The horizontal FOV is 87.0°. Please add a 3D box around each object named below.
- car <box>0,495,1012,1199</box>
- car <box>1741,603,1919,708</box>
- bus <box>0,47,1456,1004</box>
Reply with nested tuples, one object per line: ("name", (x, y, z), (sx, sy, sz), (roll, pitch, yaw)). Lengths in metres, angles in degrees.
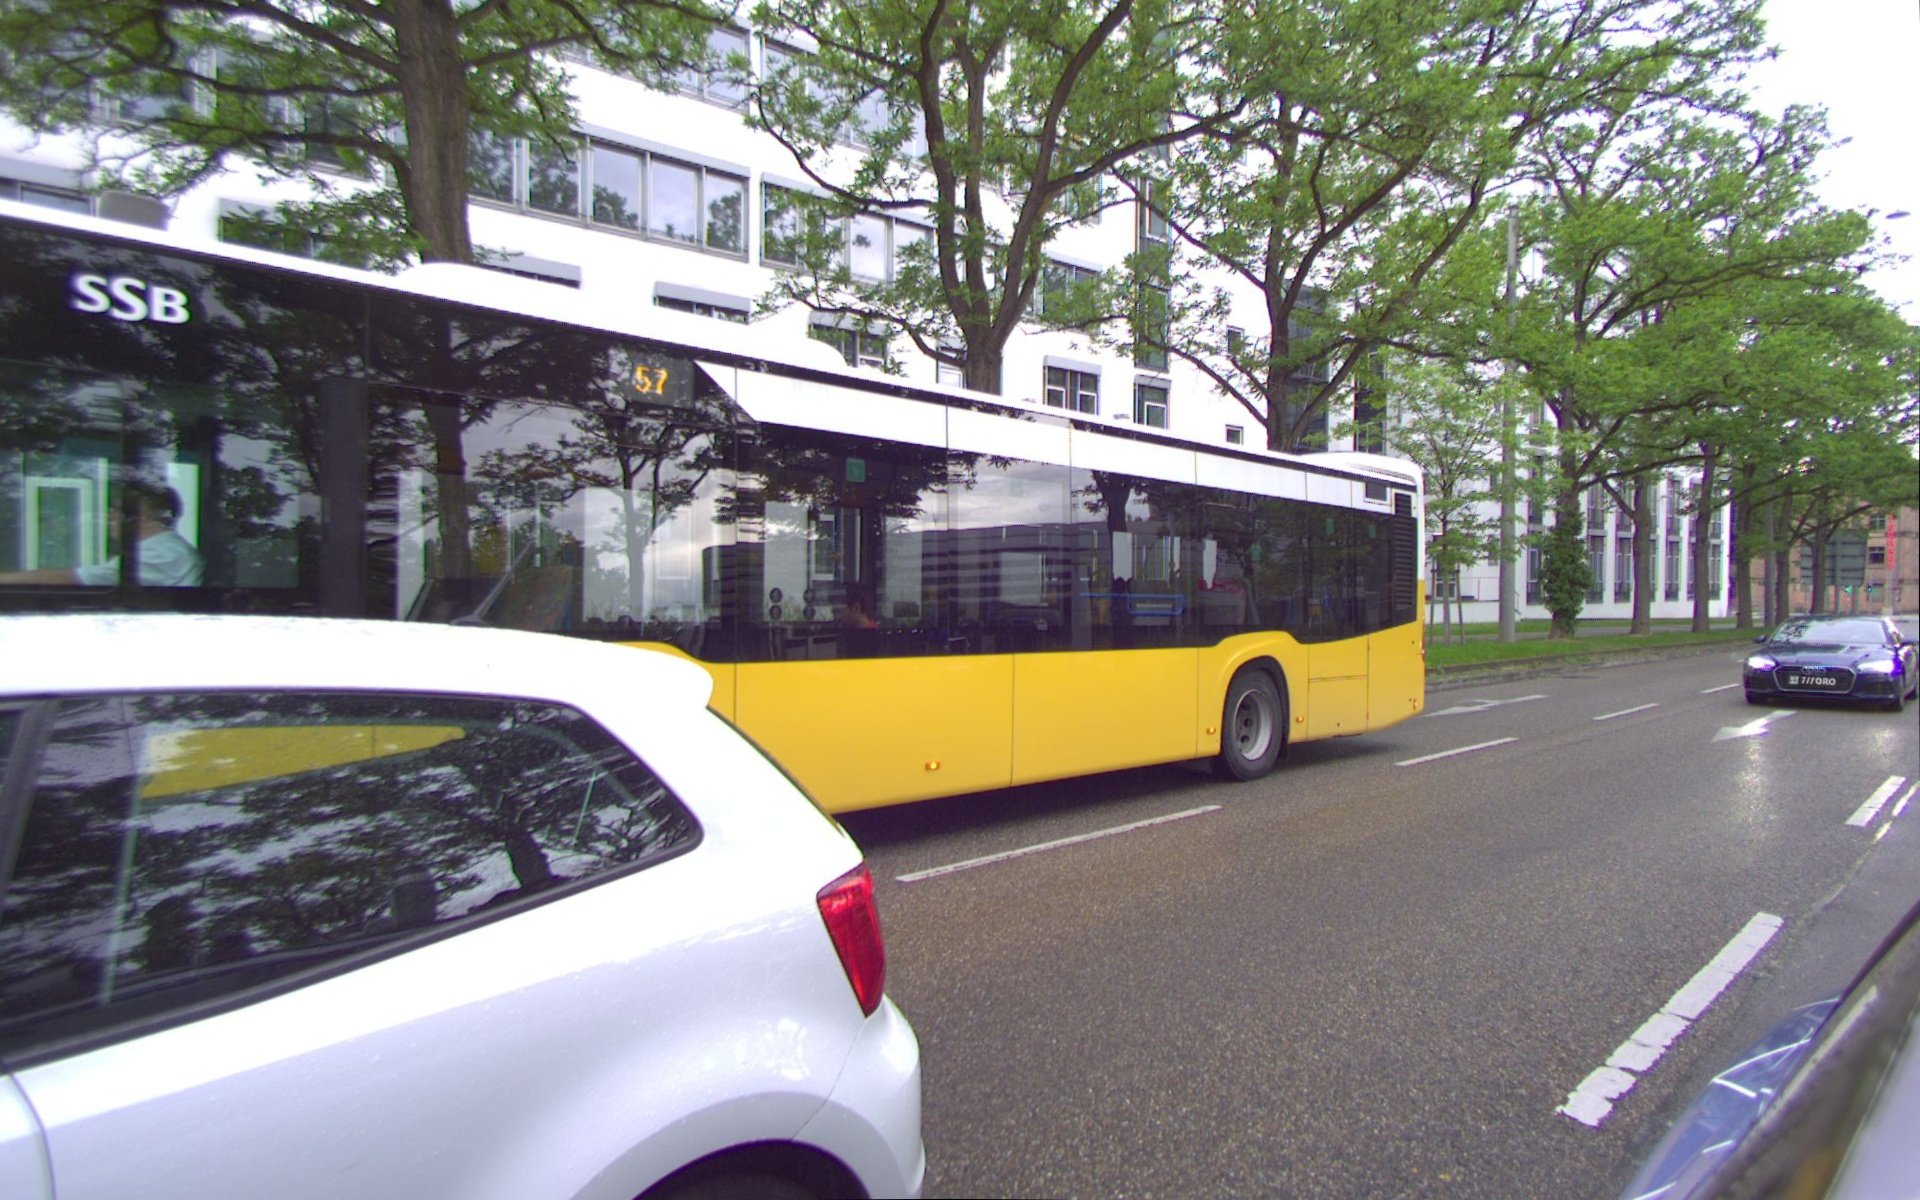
("car", (-1.881, 0.641, 1.298), (3.746, 1.450, 1.743), (-1, 0, -41))
("car", (13.935, 0.766, 15.868), (4.257, 1.371, 1.876), (-1, 0, -41))
("bus", (-0.122, -0.219, 7.878), (11.933, 3.192, 2.731), (0, -1, -41))
